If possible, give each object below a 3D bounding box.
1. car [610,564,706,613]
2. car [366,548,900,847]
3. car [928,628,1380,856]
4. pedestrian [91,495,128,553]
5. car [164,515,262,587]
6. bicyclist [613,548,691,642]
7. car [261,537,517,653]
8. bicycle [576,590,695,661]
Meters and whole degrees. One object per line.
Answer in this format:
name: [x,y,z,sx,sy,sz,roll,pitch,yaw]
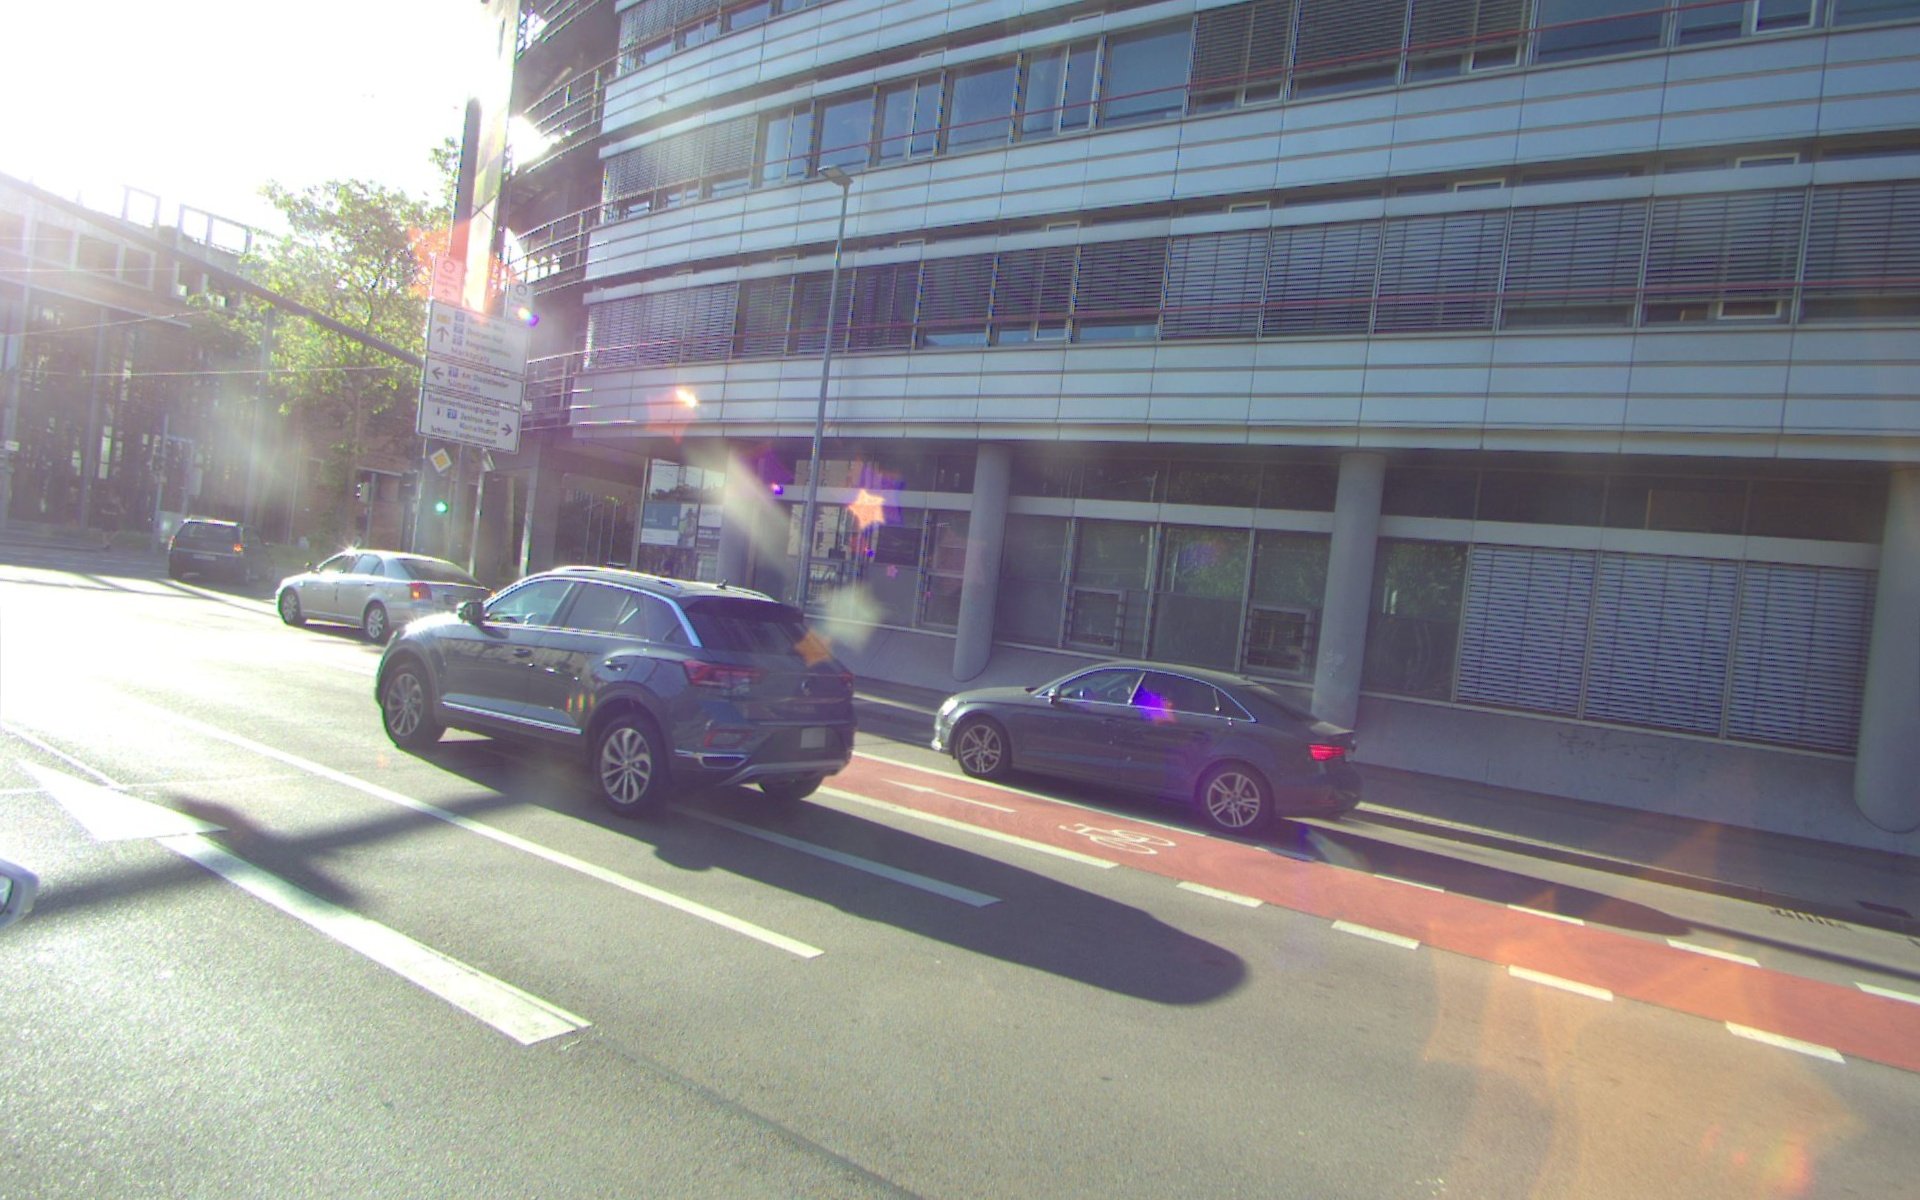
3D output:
car: [-13.445,-0.481,45.014,1.832,1.670,4.000,7,-2,24]
car: [-2.587,0.590,7.736,3.816,1.523,1.747,7,0,32]
car: [1.903,1.293,10.192,4.041,1.458,1.714,7,-1,30]
pedestrian: [-27.770,-2.466,32.851,0.701,1.781,0.556,6,1,-33]
car: [-20.699,-1.370,28.020,1.676,1.648,4.425,7,-1,-32]
bicyclist: [-5.677,-0.092,18.549,1.025,1.584,0.626,6,-3,26]
car: [-9.859,-0.099,17.298,4.413,1.448,1.753,7,0,30]
bicycle: [-6.047,0.469,18.717,2.165,1.045,0.500,7,0,19]
